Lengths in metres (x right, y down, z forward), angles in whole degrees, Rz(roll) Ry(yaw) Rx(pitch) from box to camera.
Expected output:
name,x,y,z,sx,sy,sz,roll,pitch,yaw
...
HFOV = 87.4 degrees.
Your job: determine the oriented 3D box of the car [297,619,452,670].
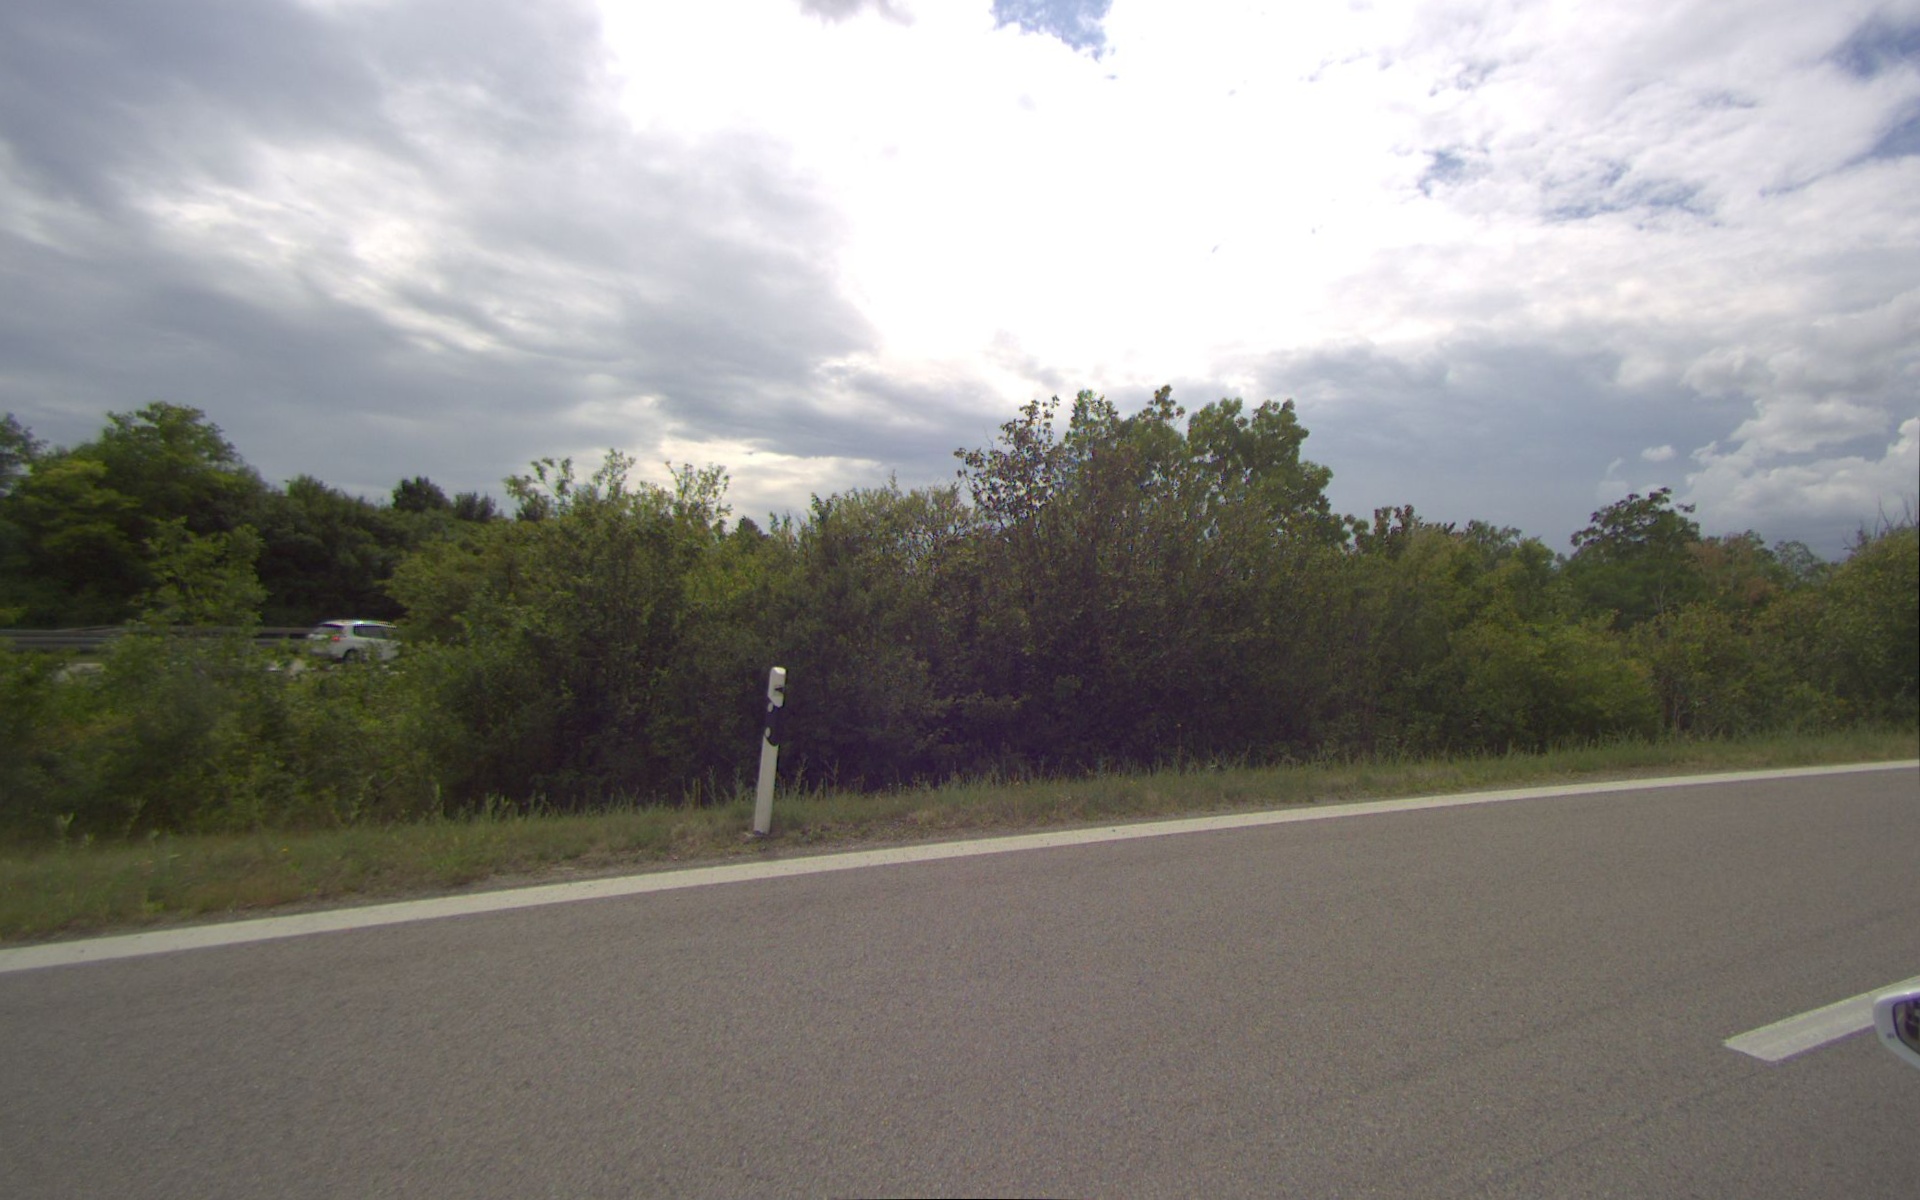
name,x,y,z,sx,sy,sz,roll,pitch,yaw
car,-18.845,1.436,32.530,1.684,1.524,4.112,0,-2,24
